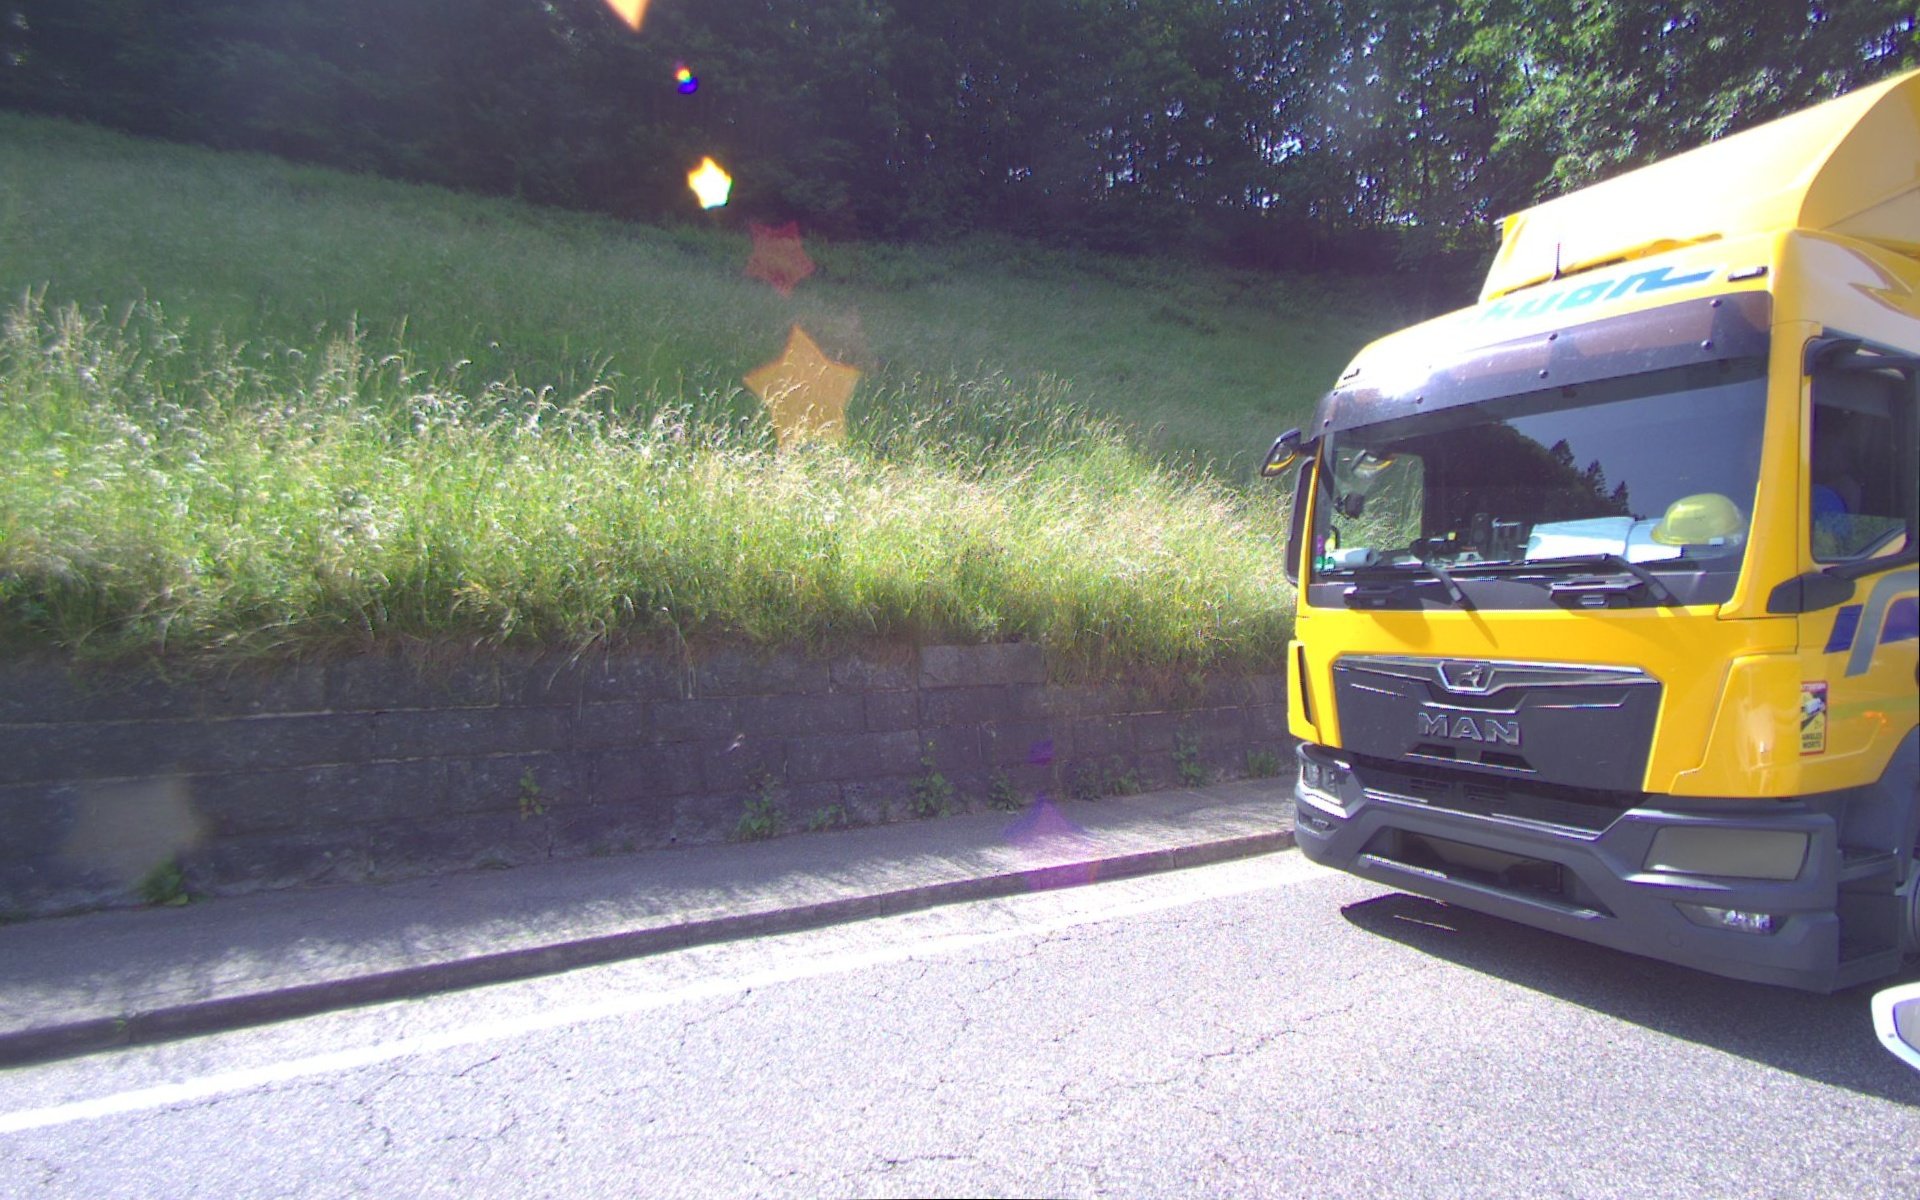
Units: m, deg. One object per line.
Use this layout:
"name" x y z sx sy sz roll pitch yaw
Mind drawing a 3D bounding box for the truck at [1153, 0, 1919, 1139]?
"truck" 4.698 -0.646 5.995 6.490 4.456 3.174 -1 1 -29

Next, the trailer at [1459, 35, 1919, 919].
"trailer" 11.208 -0.653 9.350 15.111 4.477 3.249 0 1 -26
